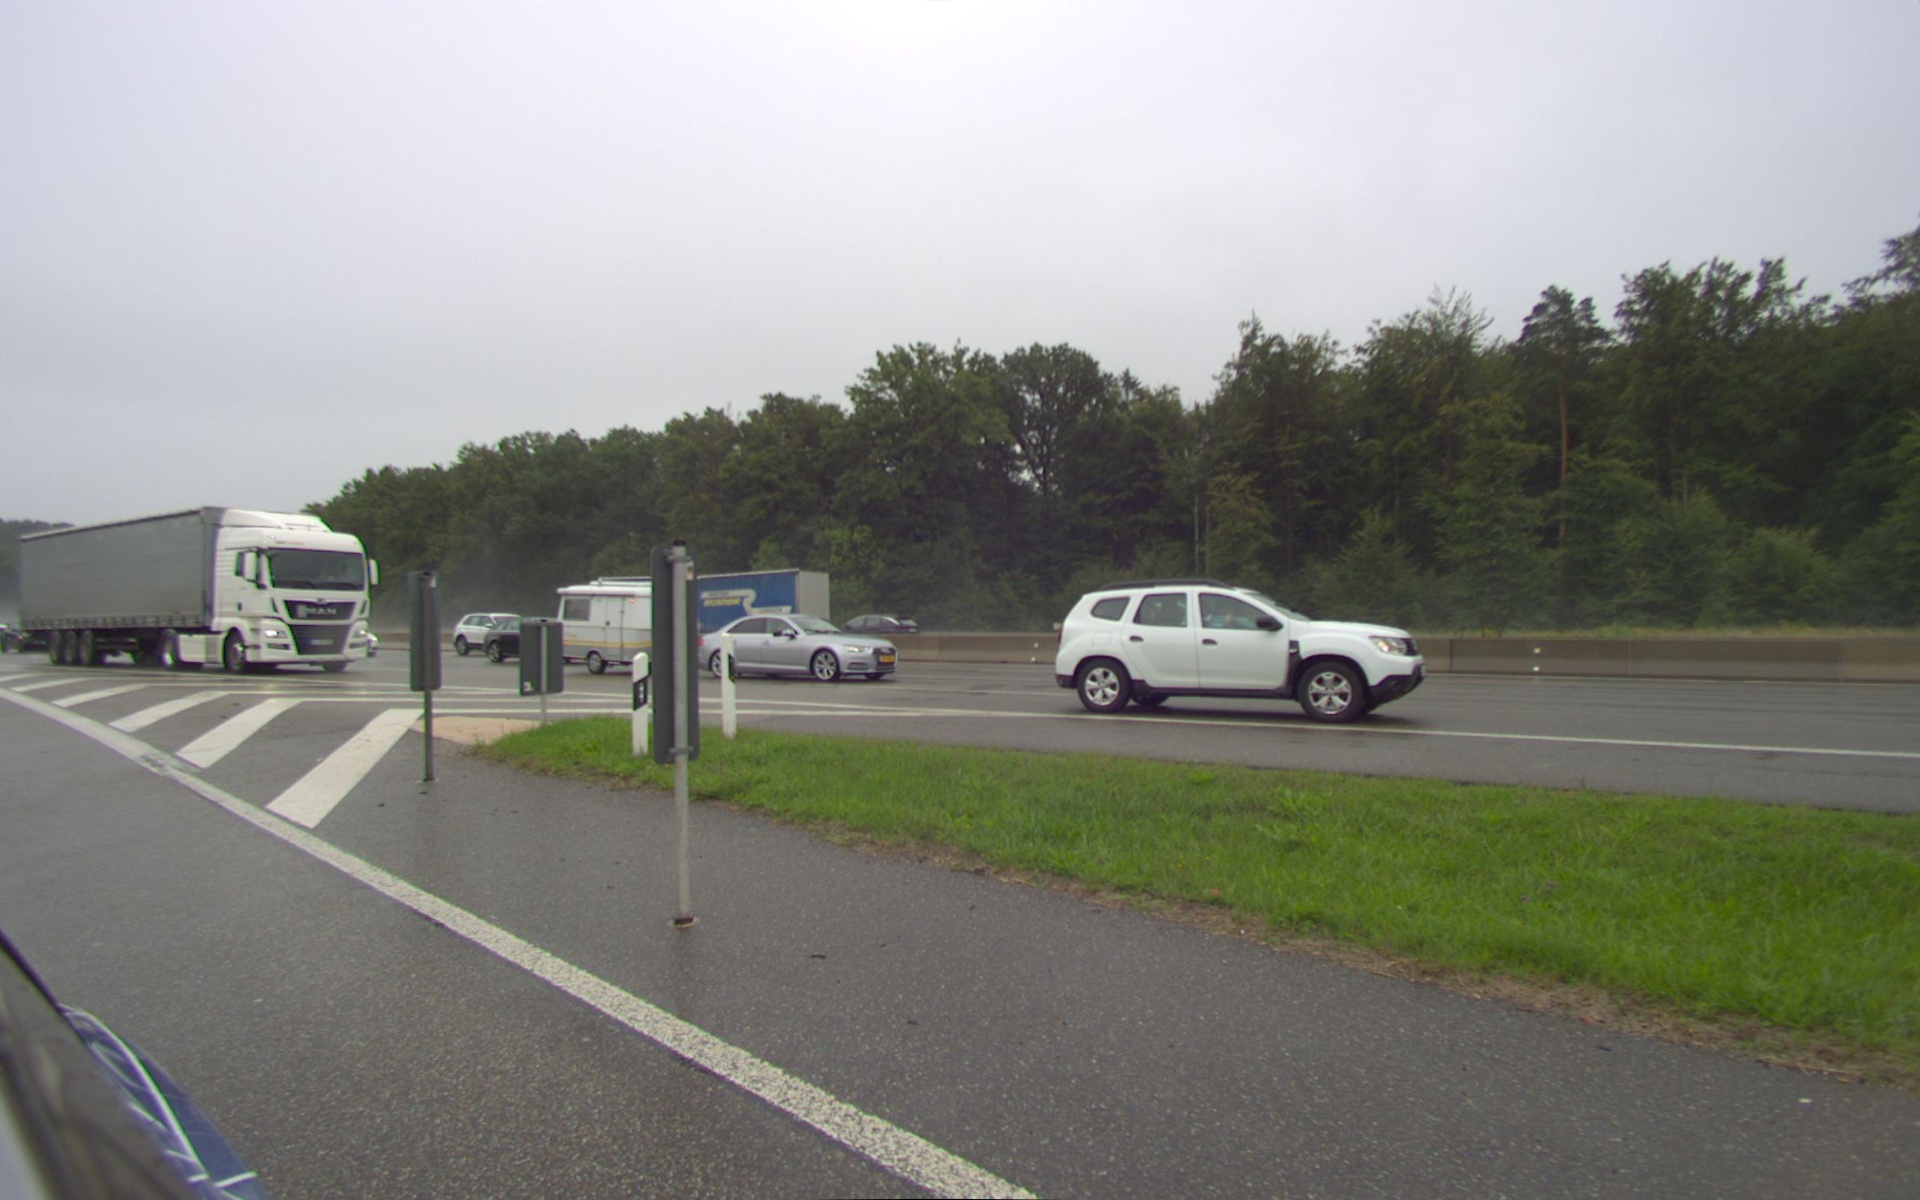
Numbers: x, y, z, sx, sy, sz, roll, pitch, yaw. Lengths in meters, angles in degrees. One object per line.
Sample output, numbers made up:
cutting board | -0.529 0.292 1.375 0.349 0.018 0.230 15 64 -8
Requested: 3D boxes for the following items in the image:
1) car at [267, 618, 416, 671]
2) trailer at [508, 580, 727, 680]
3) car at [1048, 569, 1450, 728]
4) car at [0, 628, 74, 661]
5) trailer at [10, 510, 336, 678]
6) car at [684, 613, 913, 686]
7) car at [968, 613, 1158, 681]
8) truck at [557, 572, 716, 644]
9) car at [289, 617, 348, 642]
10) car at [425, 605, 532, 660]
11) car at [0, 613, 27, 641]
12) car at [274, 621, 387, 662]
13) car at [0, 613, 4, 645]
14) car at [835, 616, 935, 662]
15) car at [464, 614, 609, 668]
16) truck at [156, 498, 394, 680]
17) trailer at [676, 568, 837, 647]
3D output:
car | -18.618 1.305 30.439 4.483 1.492 1.867 -1 -2 29
trailer | -8.210 0.743 24.116 5.160 2.172 2.113 -2 -3 31
car | 3.373 0.568 12.097 4.308 1.598 1.772 -2 -3 32
car | -41.401 1.981 45.226 3.991 1.383 1.802 -2 -2 35
trailer | -23.133 0.023 29.238 14.072 4.013 2.872 -2 -2 32
car | -3.372 1.012 20.871 4.565 1.358 1.832 -2 -3 31
car | 2.552 1.174 25.495 4.510 1.587 1.691 -1 -3 32
truck | -20.016 0.458 62.315 10.521 4.009 3.039 0 3 31
car | -47.216 2.162 74.484 4.354 1.732 1.978 -1 -2 32
car | -19.184 1.287 40.308 3.985 2.029 1.922 -2 1 31
car | -70.842 2.006 74.671 3.986 2.029 1.978 -2 -2 32
car | -23.969 1.559 38.515 4.488 1.492 1.865 -1 -2 32
car | -61.974 1.846 63.716 3.992 2.029 1.840 -1 -2 36
car | -3.116 1.594 41.946 3.837 1.749 1.726 -1 0 33
car | -13.258 1.258 31.631 4.513 1.552 1.978 -1 -2 32
truck | -17.303 -0.157 25.504 5.915 4.083 2.850 -2 -2 32
trailer | -11.580 0.404 57.127 9.134 4.076 3.069 0 3 31
